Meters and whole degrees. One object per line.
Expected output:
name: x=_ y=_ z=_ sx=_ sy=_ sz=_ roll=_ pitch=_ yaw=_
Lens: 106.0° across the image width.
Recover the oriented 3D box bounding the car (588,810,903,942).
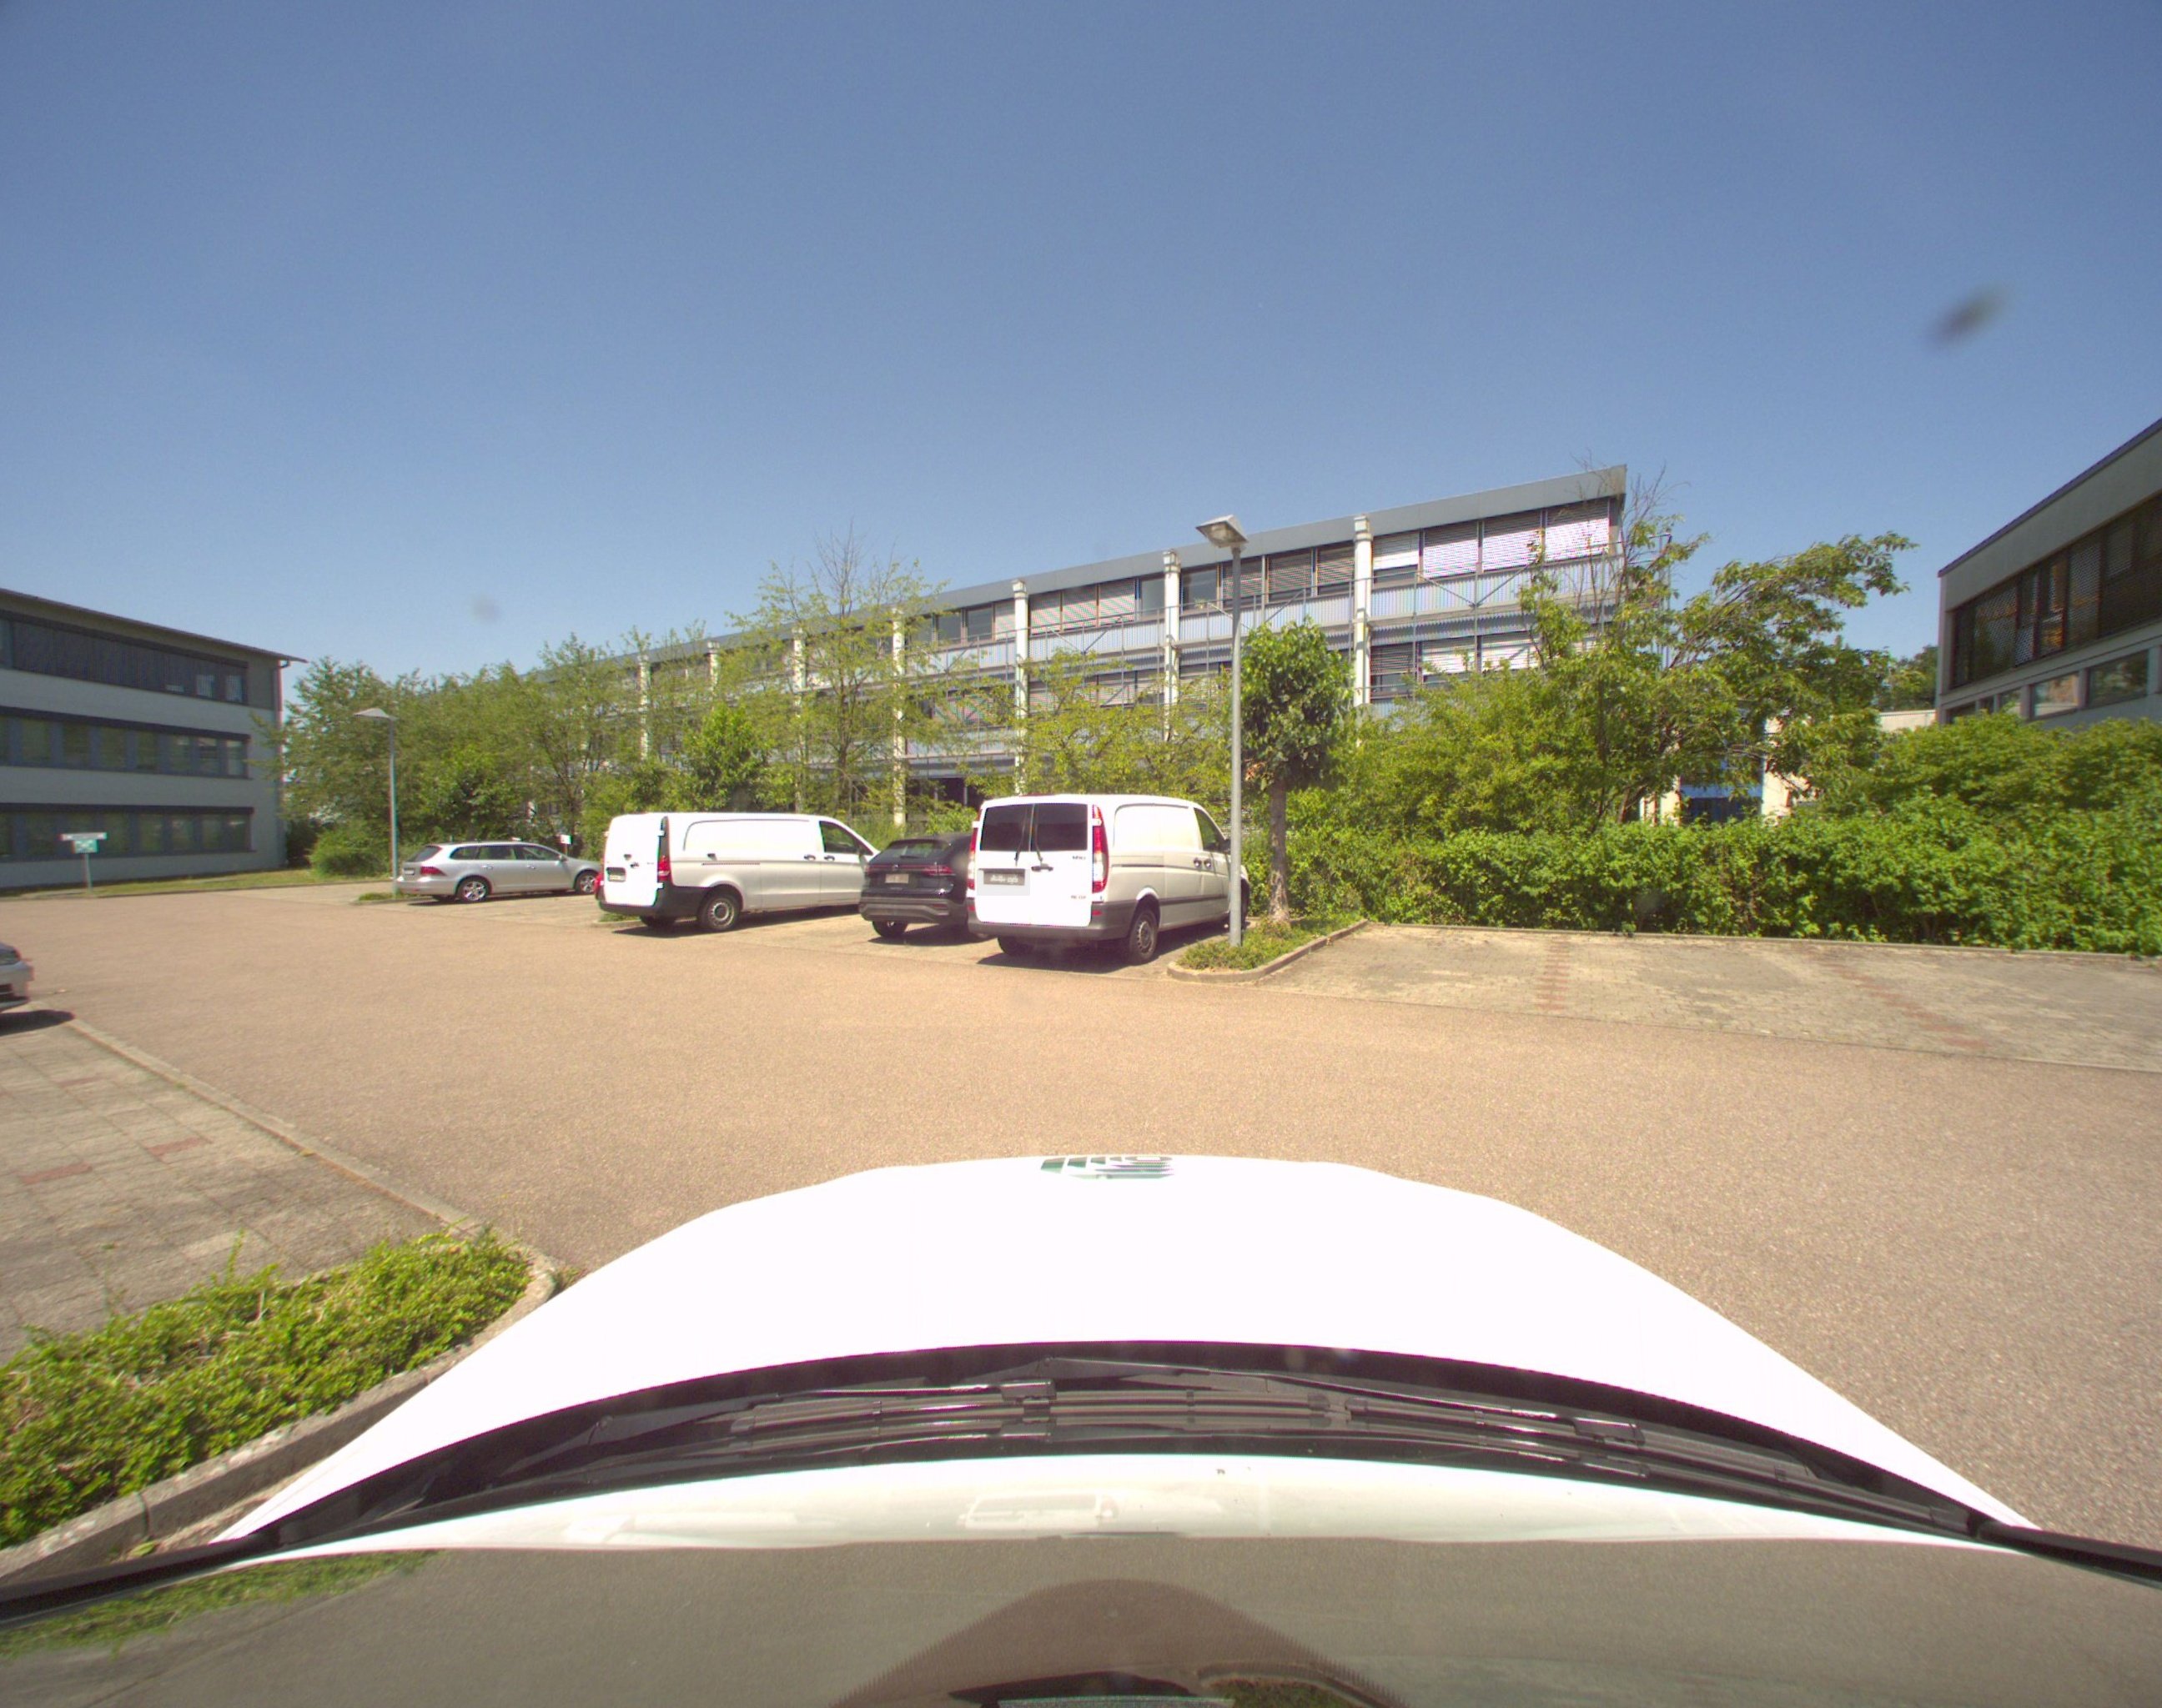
car: x=-5.580 y=0.213 z=14.270 sx=1.863 sy=1.890 sz=4.835 roll=0 pitch=2 yaw=33

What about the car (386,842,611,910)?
car: x=-14.573 y=0.467 z=20.605 sx=1.849 sy=1.406 sz=4.198 roll=0 pitch=2 yaw=34

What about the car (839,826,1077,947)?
car: x=-1.655 y=0.367 z=12.476 sx=1.739 sy=1.476 sz=4.022 roll=-1 pitch=2 yaw=22

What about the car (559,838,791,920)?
car: x=-8.440 y=0.428 z=17.274 sx=1.765 sy=1.441 sz=4.026 roll=0 pitch=2 yaw=34

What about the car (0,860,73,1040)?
car: x=-10.727 y=0.878 z=5.593 sx=1.839 sy=1.472 sz=4.513 roll=0 pitch=2 yaw=31

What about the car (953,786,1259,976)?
car: x=0.640 y=0.176 z=10.698 sx=1.895 sy=1.904 sz=4.839 roll=-1 pitch=2 yaw=30
